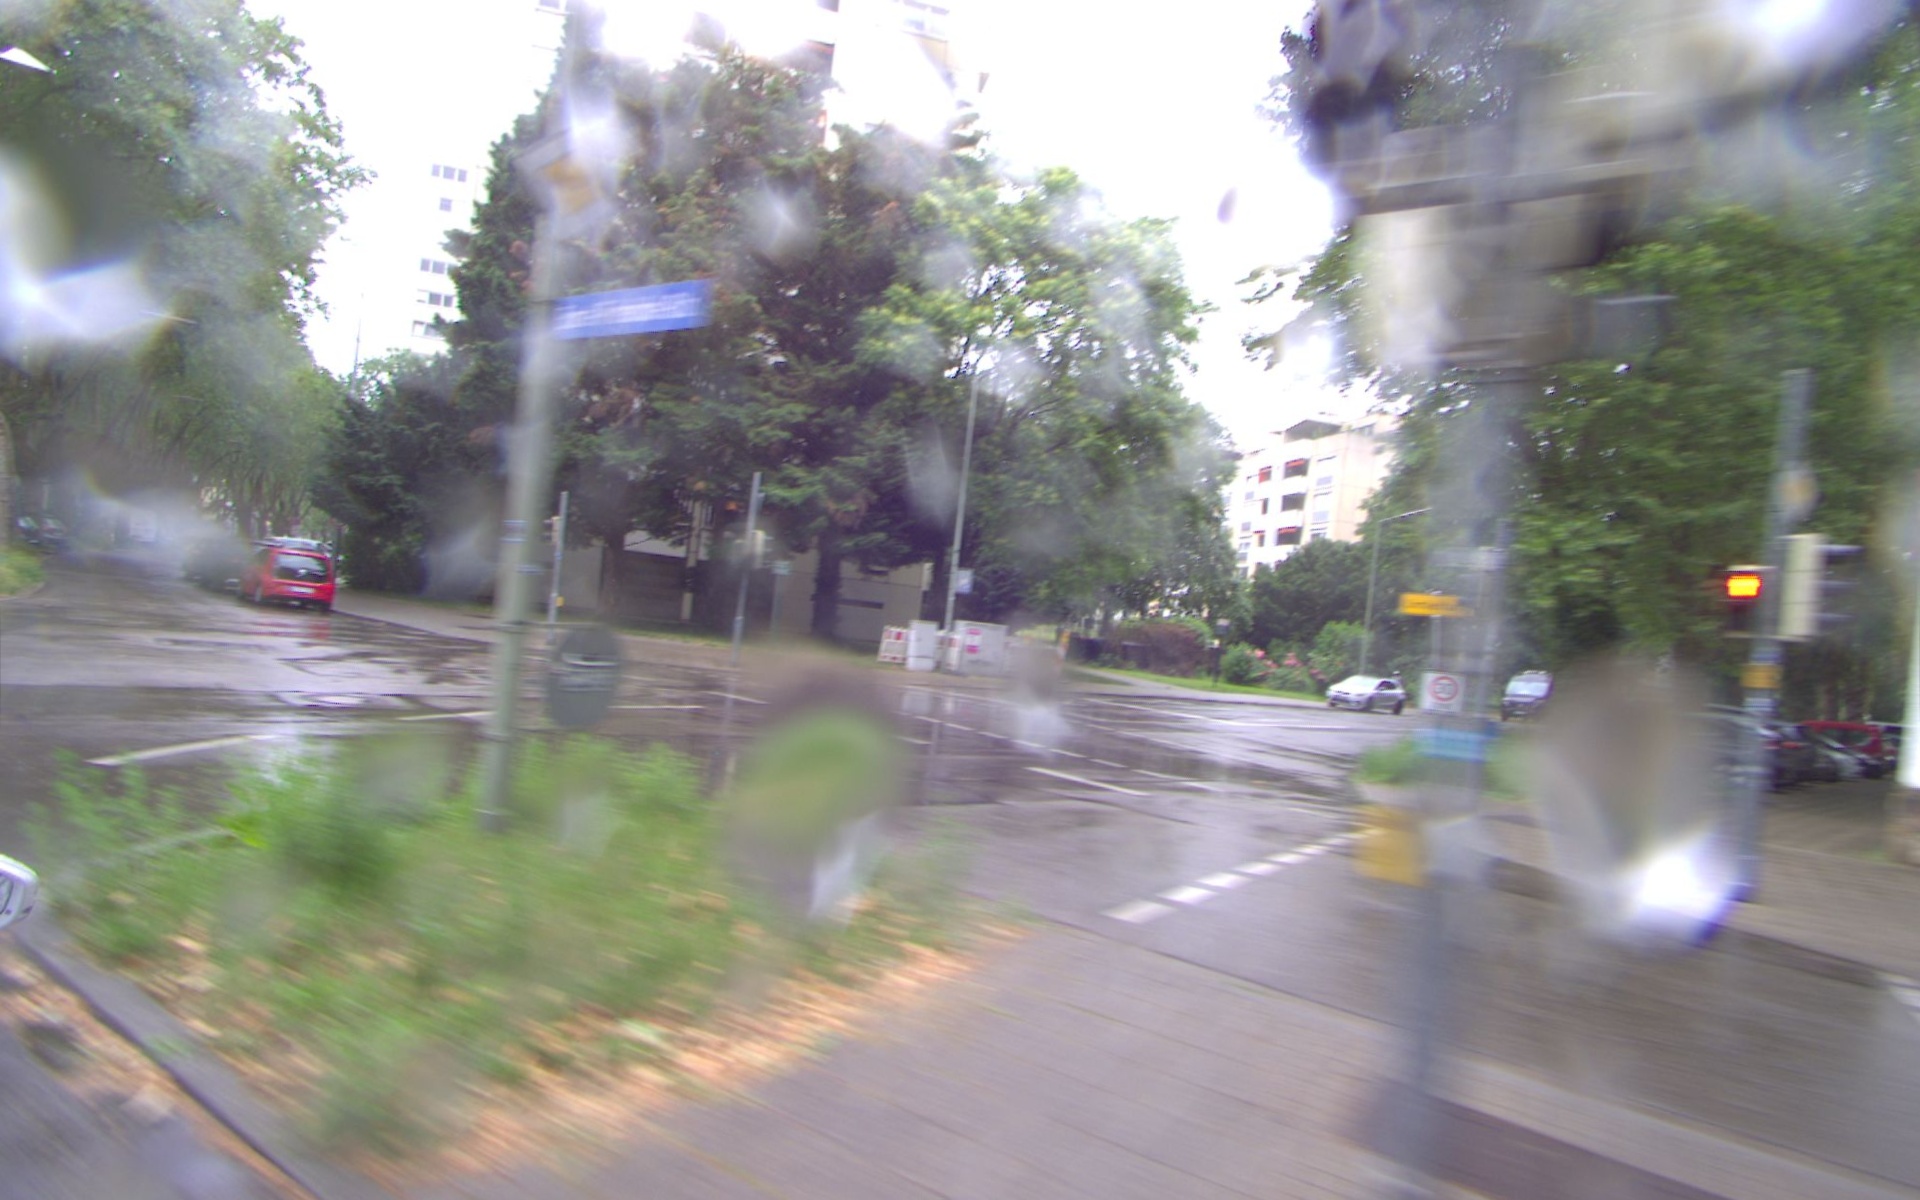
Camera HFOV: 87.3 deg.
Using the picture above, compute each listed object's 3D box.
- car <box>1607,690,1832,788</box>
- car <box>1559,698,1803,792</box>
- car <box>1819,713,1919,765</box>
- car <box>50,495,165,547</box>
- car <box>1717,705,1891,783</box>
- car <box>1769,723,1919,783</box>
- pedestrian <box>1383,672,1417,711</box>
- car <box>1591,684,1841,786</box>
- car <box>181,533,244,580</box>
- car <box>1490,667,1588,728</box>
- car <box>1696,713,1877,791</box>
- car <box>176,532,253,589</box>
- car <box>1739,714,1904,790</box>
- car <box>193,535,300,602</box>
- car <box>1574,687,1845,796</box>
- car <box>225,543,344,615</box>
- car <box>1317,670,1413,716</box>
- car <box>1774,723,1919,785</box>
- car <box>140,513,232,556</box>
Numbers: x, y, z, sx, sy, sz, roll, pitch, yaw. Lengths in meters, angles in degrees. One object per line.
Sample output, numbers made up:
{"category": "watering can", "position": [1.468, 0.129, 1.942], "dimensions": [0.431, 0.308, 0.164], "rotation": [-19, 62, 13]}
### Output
{"category": "car", "position": [21.380, 3.863, 28.473], "dimensions": [2.019, 1.896, 4.618], "rotation": [7, -1, -41]}
{"category": "car", "position": [15.357, 3.040, 21.551], "dimensions": [1.787, 1.370, 3.950], "rotation": [8, -2, -45]}
{"category": "car", "position": [49.118, 7.465, 53.335], "dimensions": [2.019, 2.048, 5.032], "rotation": [7, 0, -41]}
{"category": "car", "position": [-54.067, -4.995, 63.831], "dimensions": [5.498, 2.430, 2.236], "rotation": [6, -1, 7]}
{"category": "car", "position": [29.925, 5.070, 35.762], "dimensions": [2.021, 1.923, 4.389], "rotation": [7, 0, -43]}
{"category": "car", "position": [36.456, 6.269, 41.437], "dimensions": [2.019, 1.589, 4.478], "rotation": [8, -1, -41]}
{"category": "pedestrian", "position": [20.509, 4.263, 46.897], "dimensions": [0.921, 1.680, 0.934], "rotation": [7, 0, -38]}
{"category": "car", "position": [18.963, 3.343, 25.408], "dimensions": [2.019, 1.711, 4.618], "rotation": [8, -1, -41]}
{"category": "car", "position": [-31.296, -1.840, 42.081], "dimensions": [1.917, 1.653, 3.959], "rotation": [7, -2, -38]}
{"category": "car", "position": [29.388, 4.986, 50.953], "dimensions": [5.652, 2.505, 2.375], "rotation": [8, -1, -41]}
{"category": "car", "position": [25.655, 4.675, 31.335], "dimensions": [1.923, 1.652, 3.981], "rotation": [7, 0, -41]}
{"category": "car", "position": [-25.356, -1.352, 34.322], "dimensions": [1.823, 1.615, 3.455], "rotation": [7, -2, -34]}
{"category": "car", "position": [28.676, 5.007, 33.539], "dimensions": [3.948, 1.755, 1.989], "rotation": [7, -1, 44]}
{"category": "car", "position": [-21.236, -0.968, 29.883], "dimensions": [1.928, 1.627, 4.402], "rotation": [7, -2, -43]}
{"category": "car", "position": [17.300, 3.208, 23.411], "dimensions": [1.918, 1.642, 4.682], "rotation": [8, -1, -43]}
{"category": "car", "position": [-17.728, -0.567, 26.348], "dimensions": [3.417, 1.543, 1.832], "rotation": [5, -2, 45]}
{"category": "car", "position": [16.698, 3.852, 41.390], "dimensions": [4.241, 1.477, 1.803], "rotation": [8, -2, -40]}
{"category": "car", "position": [34.957, 6.007, 39.443], "dimensions": [1.914, 1.604, 4.361], "rotation": [8, -1, -41]}
{"category": "car", "position": [-62.579, -5.293, 81.385], "dimensions": [5.858, 2.681, 2.001], "rotation": [6, -1, 4]}
